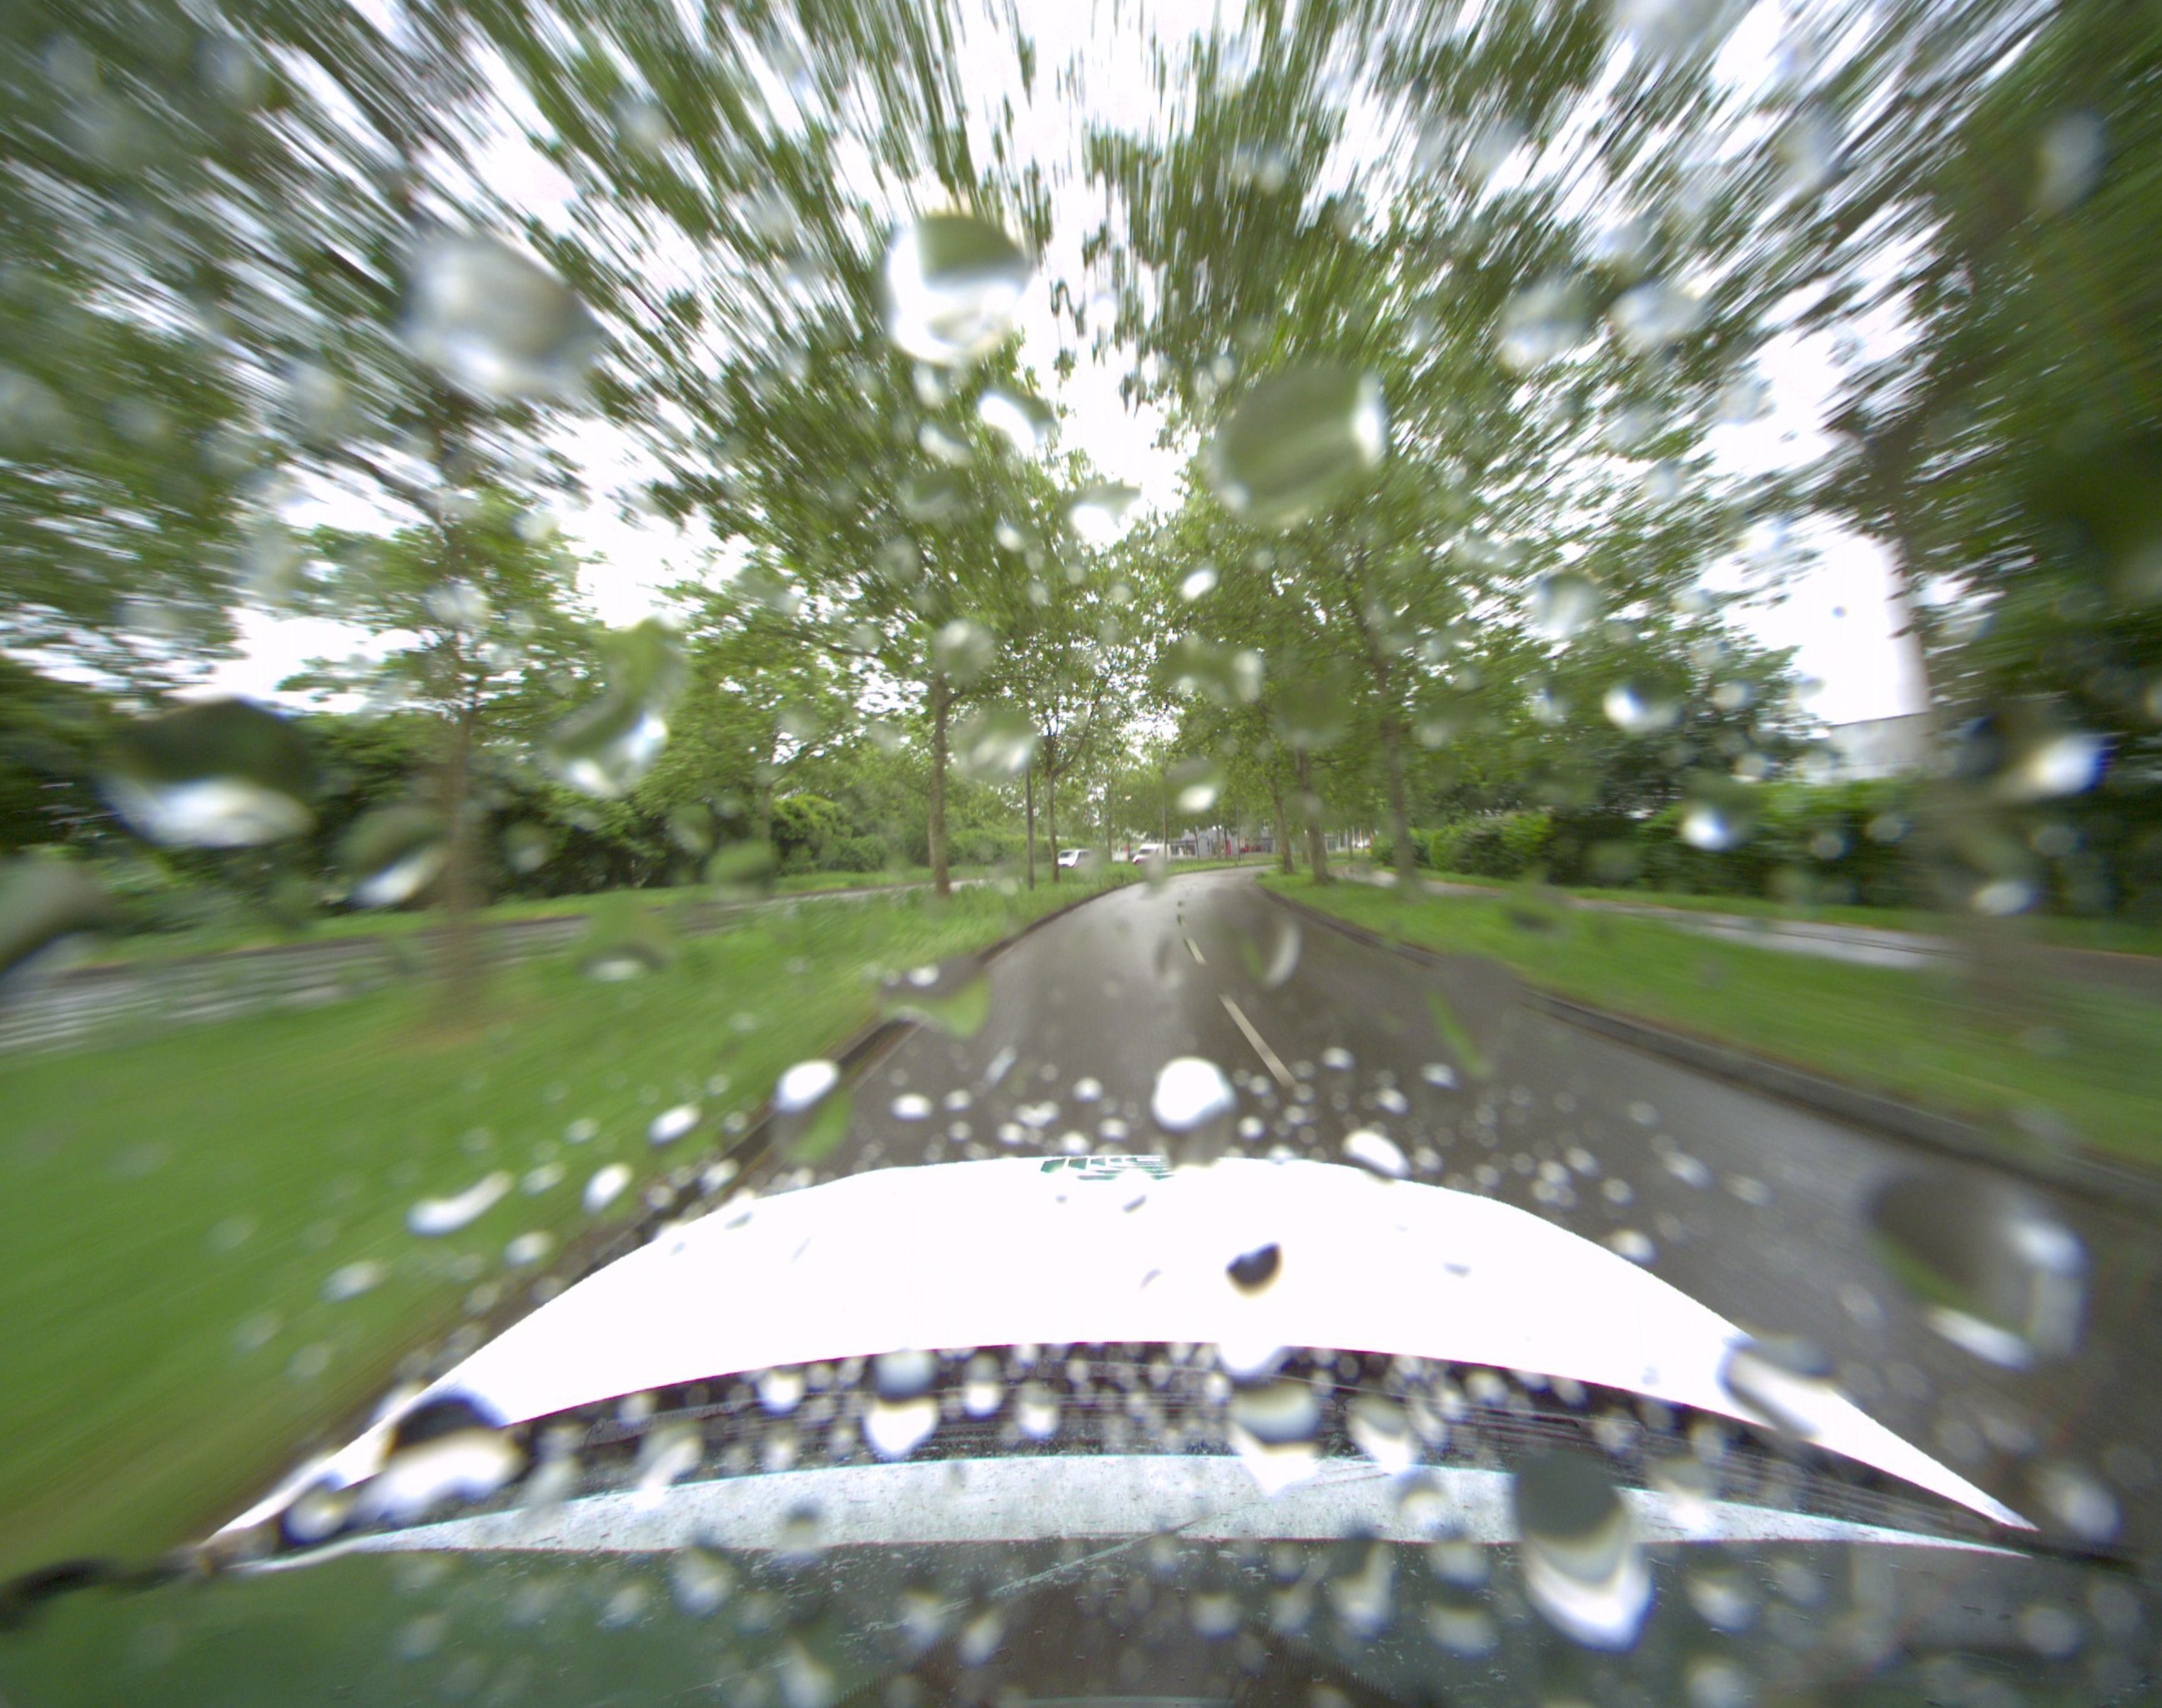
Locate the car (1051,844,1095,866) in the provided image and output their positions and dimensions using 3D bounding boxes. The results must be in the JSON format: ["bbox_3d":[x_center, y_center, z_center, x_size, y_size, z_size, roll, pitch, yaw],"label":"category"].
[{"bbox_3d":[-0.556,0.036,64.669,1.955,1.563,4.754,-2,0,19],"label":"car"}]

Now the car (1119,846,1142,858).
[{"bbox_3d":[9.104,-0.316,150.551,3.981,2.014,1.996,-2,-1,-6],"label":"car"}]

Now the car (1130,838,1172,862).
[{"bbox_3d":[7.103,-0.444,81.922,2.262,2.271,6.002,-2,0,24],"label":"car"}]
